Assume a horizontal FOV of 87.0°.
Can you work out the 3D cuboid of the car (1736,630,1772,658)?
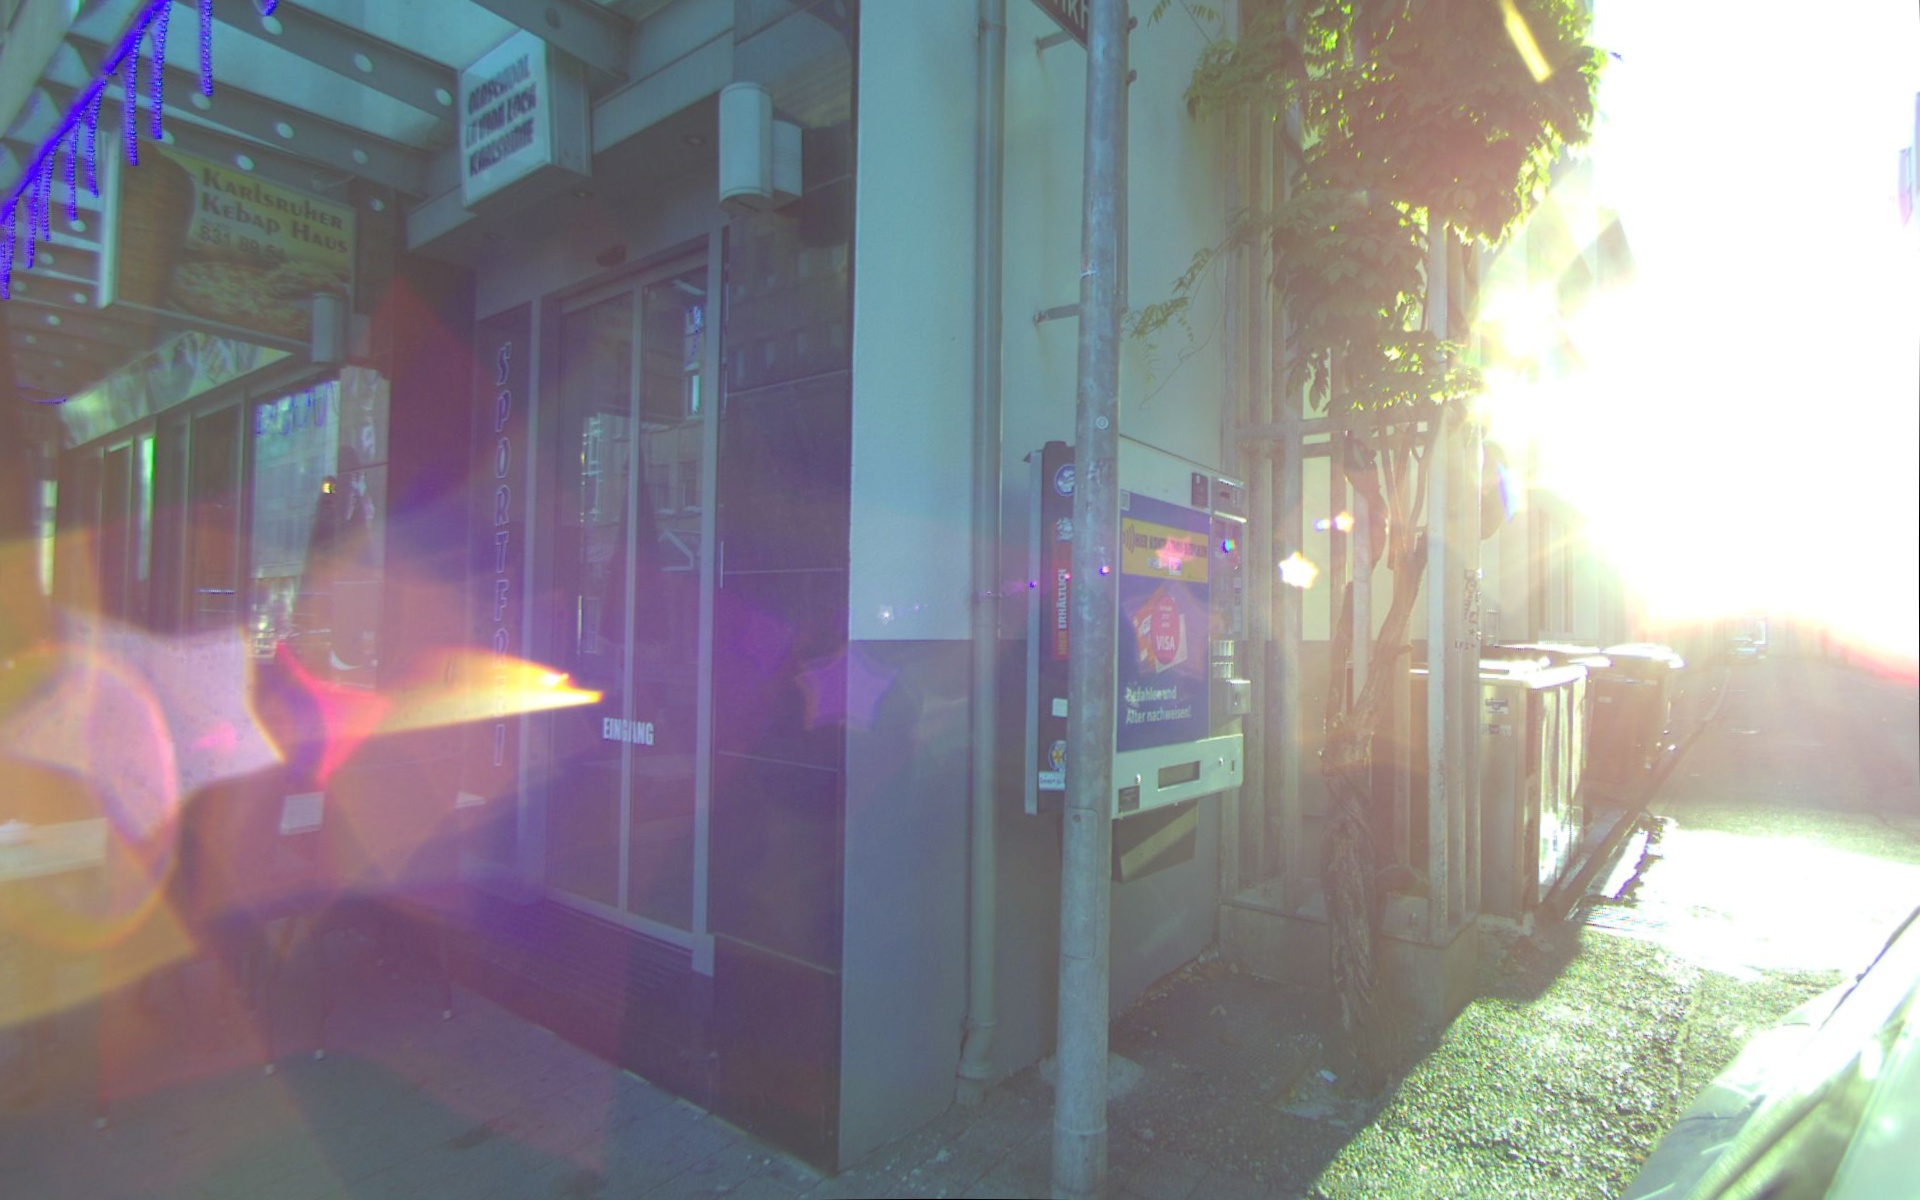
[{"bbox_3d":[52.868,2.931,67.406,1.755,1.790,4.683,-3,-4,38],"label":"car"}]

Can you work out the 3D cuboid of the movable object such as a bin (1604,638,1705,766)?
[{"bbox_3d":[8.317,1.175,12.170,0.934,1.384,1.326,2,-1,33],"label":"movable object such as a bin"}]

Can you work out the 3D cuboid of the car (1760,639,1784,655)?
[{"bbox_3d":[94.266,5.419,117.478,1.988,1.840,3.944,-3,-4,37],"label":"car"}]

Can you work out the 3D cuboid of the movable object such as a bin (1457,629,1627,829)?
[{"bbox_3d":[4.420,0.907,7.659,0.835,1.321,1.270,1,-1,43],"label":"movable object such as a bin"}]

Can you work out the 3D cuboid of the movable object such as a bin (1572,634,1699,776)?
[{"bbox_3d":[7.428,1.096,11.111,1.062,1.384,1.324,2,-1,37],"label":"movable object such as a bin"}]

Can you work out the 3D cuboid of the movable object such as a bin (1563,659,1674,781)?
[{"bbox_3d":[6.635,1.175,10.193,0.867,1.088,0.728,2,-1,38],"label":"movable object such as a bin"}]
